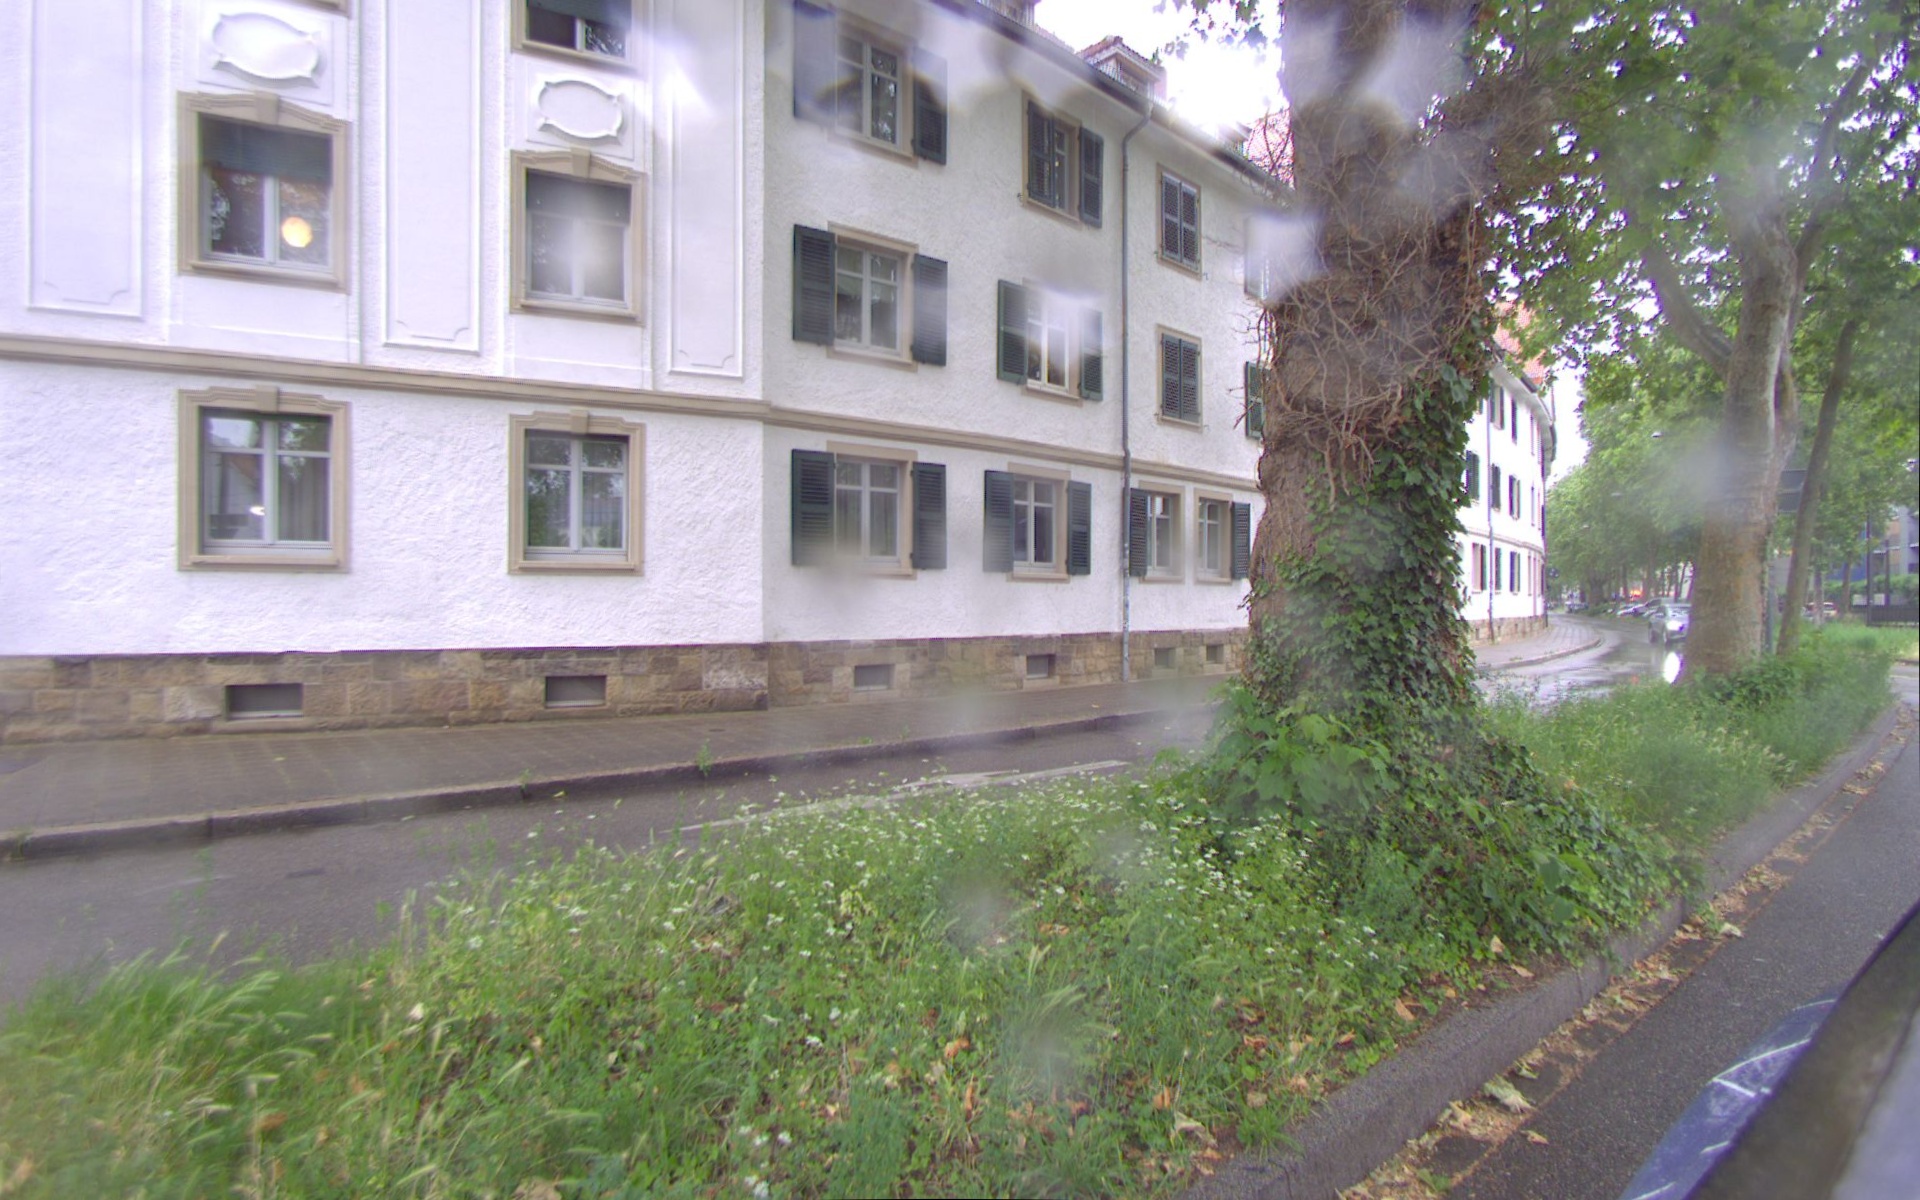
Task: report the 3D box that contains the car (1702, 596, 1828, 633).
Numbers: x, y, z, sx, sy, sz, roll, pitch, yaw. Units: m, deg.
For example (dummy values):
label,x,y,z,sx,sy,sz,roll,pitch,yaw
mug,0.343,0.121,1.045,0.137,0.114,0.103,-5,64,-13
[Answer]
label,x,y,z,sx,sy,sz,roll,pitch,yaw
car,37.798,0.647,47.633,1.892,1.560,4.236,1,1,-30

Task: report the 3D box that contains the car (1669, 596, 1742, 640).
label,x,y,z,sx,sy,sz,roll,pitch,yaw
car,28.909,0.659,39.353,1.837,1.616,4.170,0,0,31

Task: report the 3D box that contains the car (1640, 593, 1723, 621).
label,x,y,z,sx,sy,sz,roll,pitch,yaw
car,56.729,0.529,79.661,1.960,2.039,4.899,1,1,-30

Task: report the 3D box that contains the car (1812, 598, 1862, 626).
label,x,y,z,sx,sy,sz,roll,pitch,yaw
car,57.786,0.753,66.759,1.677,1.745,3.656,2,1,28
